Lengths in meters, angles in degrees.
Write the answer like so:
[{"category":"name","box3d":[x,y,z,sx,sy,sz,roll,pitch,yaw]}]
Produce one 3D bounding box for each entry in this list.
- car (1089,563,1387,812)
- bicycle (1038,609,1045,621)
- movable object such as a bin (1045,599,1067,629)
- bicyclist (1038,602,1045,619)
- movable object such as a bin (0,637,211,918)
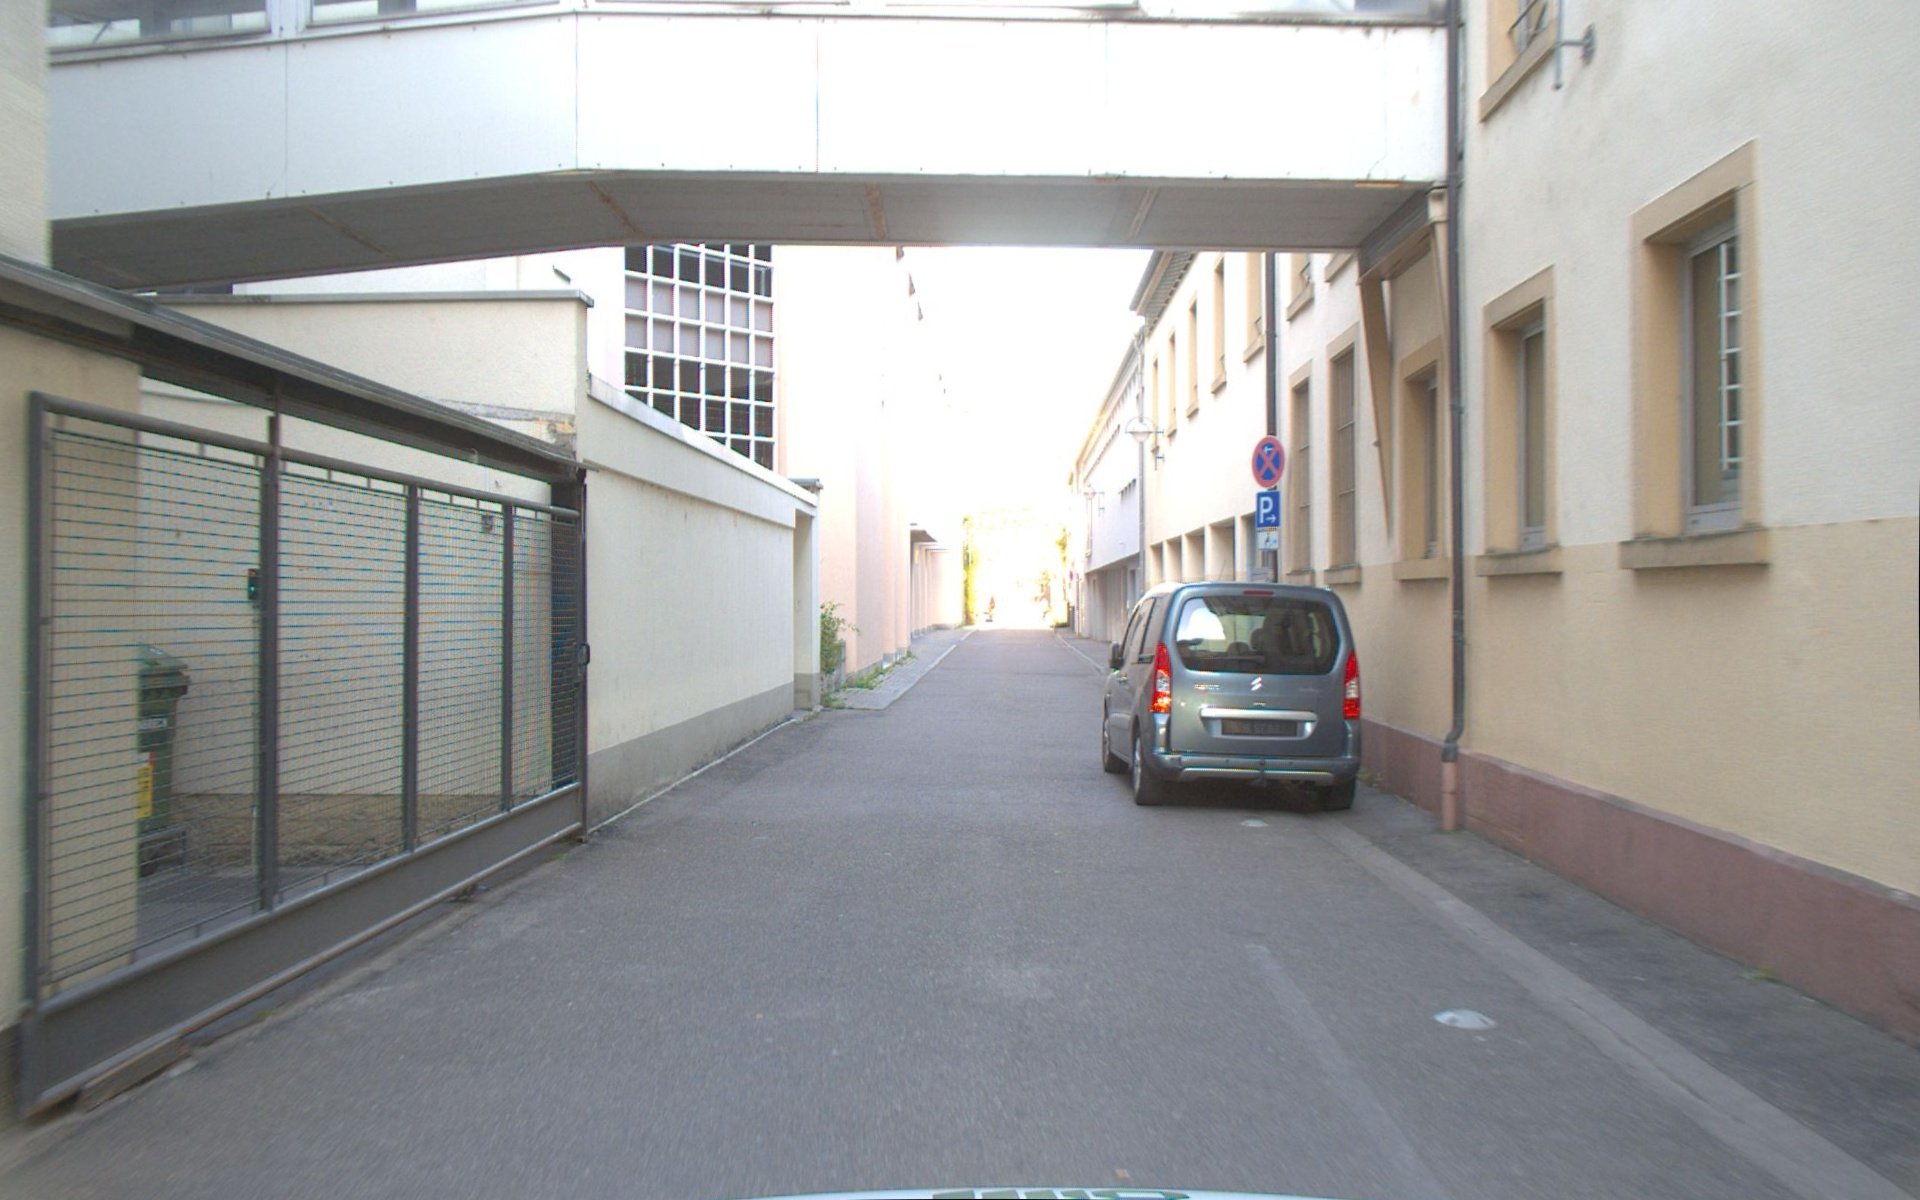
[{"category":"car","box3d":[2.284,0.735,14.676,1.818,1.786,4.161,3,-2,-1]},{"category":"bicycle","box3d":[6.612,1.193,134.257,0.433,0.931,1.517,1,1,5]},{"category":"movable object such as a bin","box3d":[5.048,0.746,87.024,1.084,1.461,1.415,-1,3,2]},{"category":"bicyclist","box3d":[6.612,0.878,134.192,0.501,1.345,0.559,1,1,4]},{"category":"movable object such as a bin","box3d":[-5.402,0.981,9.774,1.156,1.449,1.590,0,1,3]}]
